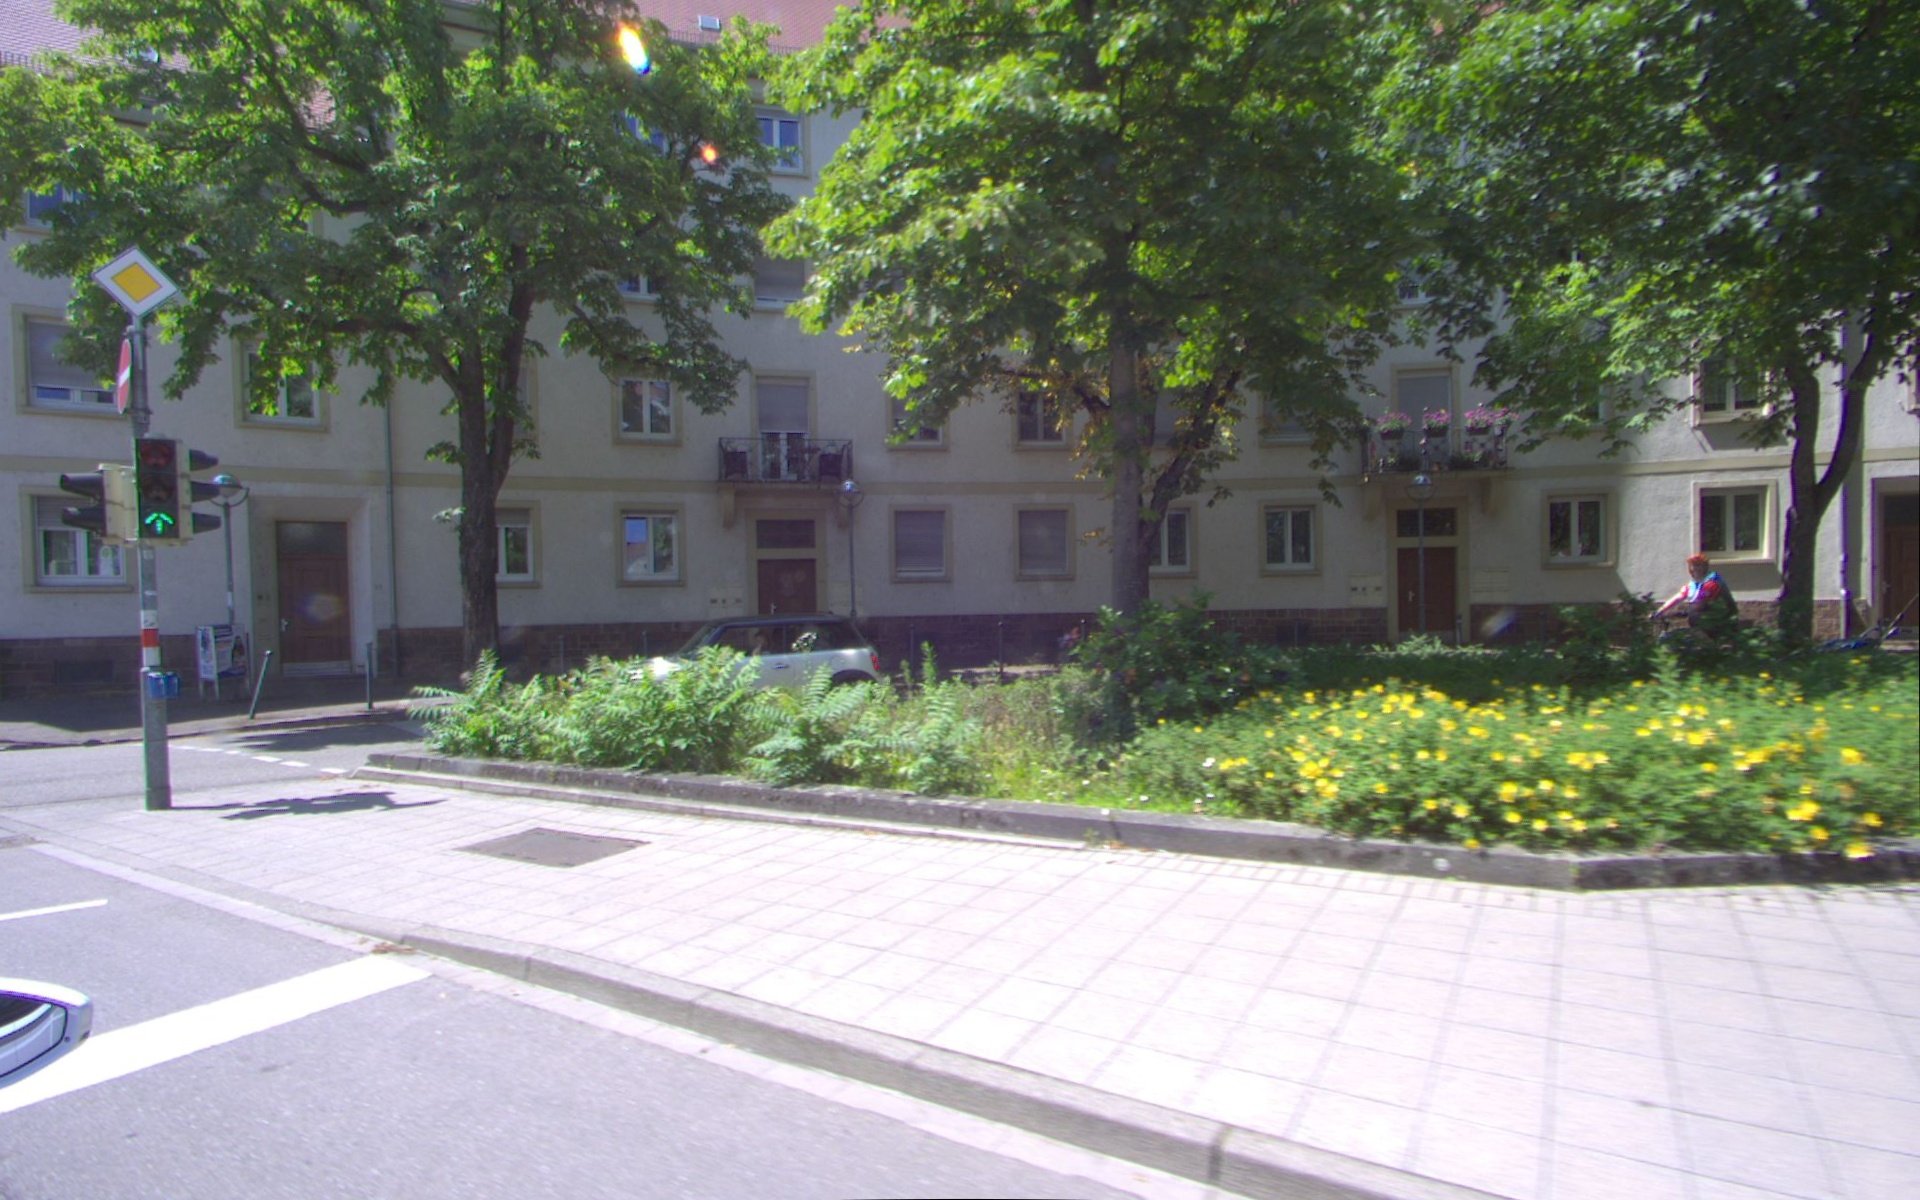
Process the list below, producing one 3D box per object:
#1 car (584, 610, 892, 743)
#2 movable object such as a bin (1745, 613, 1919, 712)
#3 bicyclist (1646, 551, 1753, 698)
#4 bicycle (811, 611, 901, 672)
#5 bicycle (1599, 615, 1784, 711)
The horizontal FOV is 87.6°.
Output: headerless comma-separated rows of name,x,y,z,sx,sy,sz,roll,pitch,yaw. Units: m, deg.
car,-2.784,0.885,12.733,3.561,1.465,1.693,-1,0,-15
movable object such as a bin,10.950,0.757,12.391,1.730,1.170,0.868,-1,0,8
bicyclist,9.323,0.310,12.652,0.848,1.790,0.698,-1,0,8
bicycle,-2.095,0.831,20.340,1.769,1.170,0.640,-1,0,-3
bicycle,9.215,0.788,12.678,1.769,1.170,0.681,-1,0,8
